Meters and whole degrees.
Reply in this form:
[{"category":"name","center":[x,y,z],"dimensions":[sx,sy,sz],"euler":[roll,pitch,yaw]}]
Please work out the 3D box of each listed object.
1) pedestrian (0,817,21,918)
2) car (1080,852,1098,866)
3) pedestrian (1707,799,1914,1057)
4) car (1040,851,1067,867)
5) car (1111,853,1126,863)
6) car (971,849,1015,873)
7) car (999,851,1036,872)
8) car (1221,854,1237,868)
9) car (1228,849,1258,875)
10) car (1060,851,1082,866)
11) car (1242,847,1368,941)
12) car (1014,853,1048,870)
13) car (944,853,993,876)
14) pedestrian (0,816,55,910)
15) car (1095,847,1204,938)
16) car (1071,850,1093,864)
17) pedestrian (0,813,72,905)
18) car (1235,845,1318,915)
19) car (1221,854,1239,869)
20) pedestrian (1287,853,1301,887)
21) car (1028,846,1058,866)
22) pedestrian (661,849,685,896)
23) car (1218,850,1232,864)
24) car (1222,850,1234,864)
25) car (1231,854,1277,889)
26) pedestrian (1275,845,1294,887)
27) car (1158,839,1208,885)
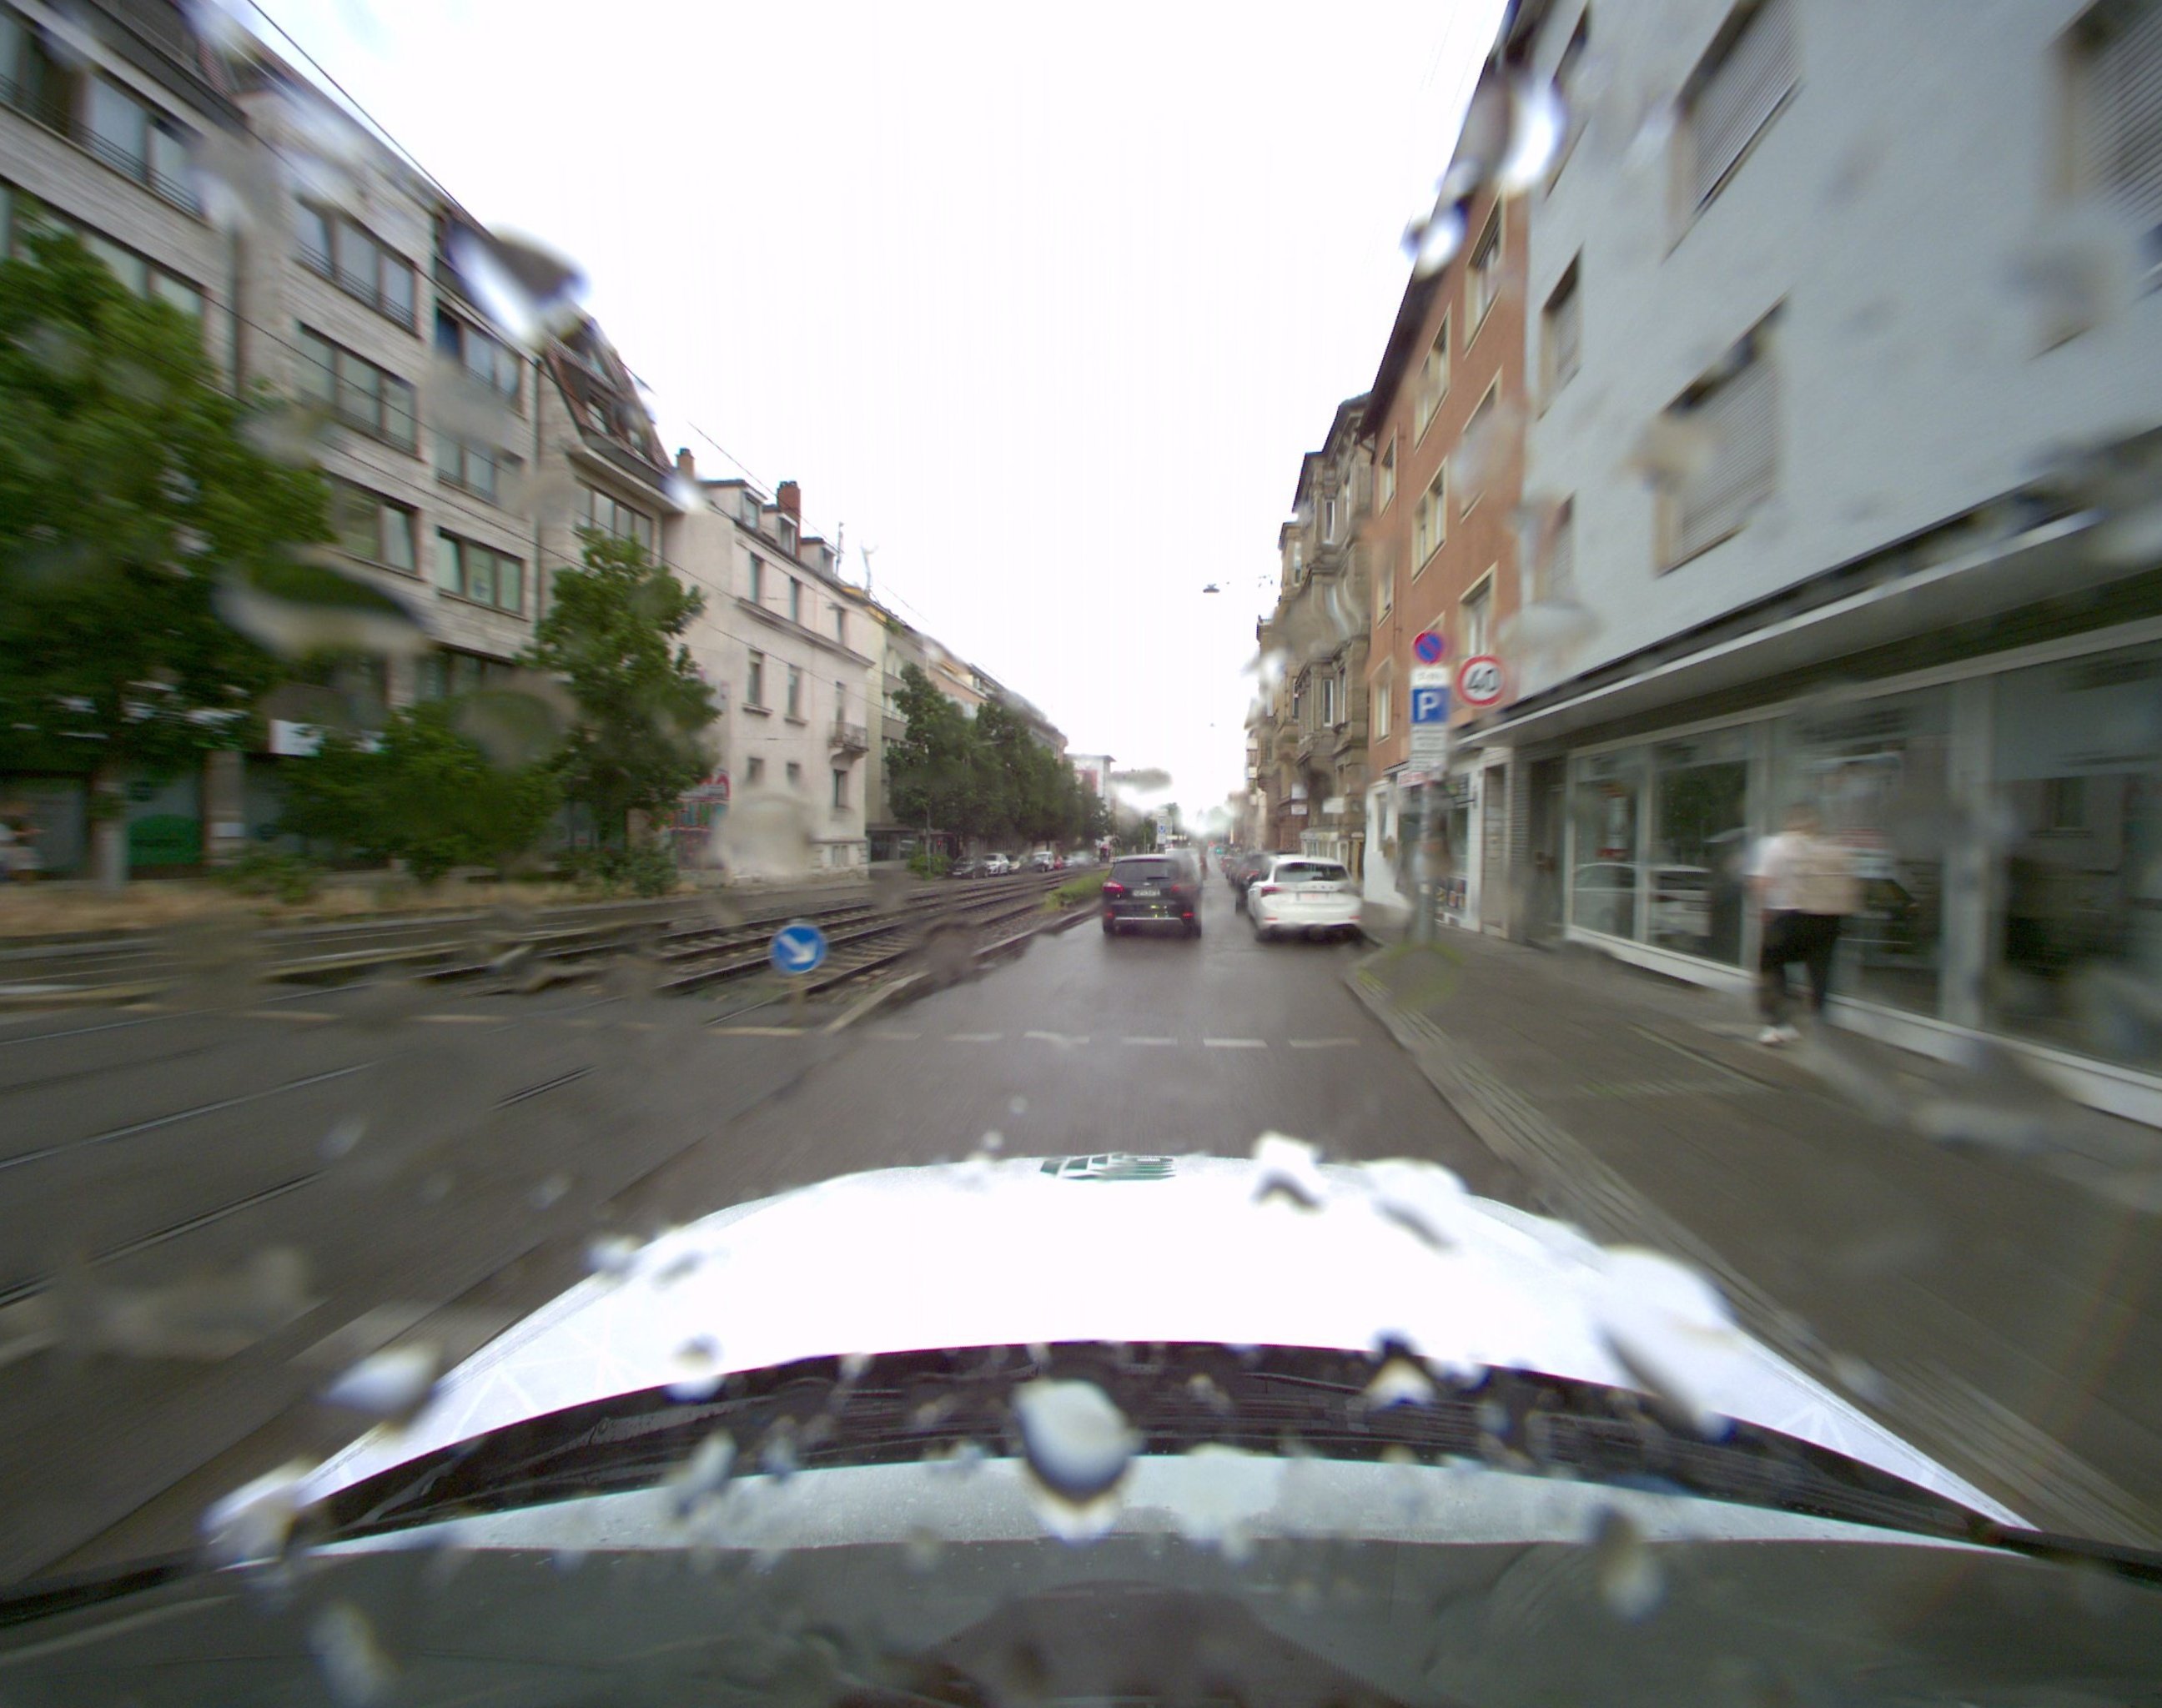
[{"category":"pedestrian","center":[-18.776,0.205,13.785],"dimensions":[0.644,1.724,0.685],"euler":[3,-2,7]},{"category":"car","center":[1.019,0.664,104.500],"dimensions":[1.685,1.574,4.056],"euler":[1,-1,10]},{"category":"pedestrian","center":[4.775,0.443,5.382],"dimensions":[0.686,1.571,0.762],"euler":[-1,2,-2]},{"category":"car","center":[-2.701,0.513,81.684],"dimensions":[1.844,1.527,4.056],"euler":[1,-1,10]},{"category":"car","center":[6.195,0.698,134.402],"dimensions":[1.844,1.637,4.056],"euler":[1,-1,10]},{"category":"car","center":[-6.252,0.535,58.551],"dimensions":[1.844,1.549,4.733],"euler":[1,-1,10]},{"category":"car","center":[-5.033,0.601,64.857],"dimensions":[1.844,1.549,4.442],"euler":[1,-1,10]},{"category":"car","center":[15.771,0.729,86.938],"dimensions":[1.660,1.421,3.485],"euler":[0,0,9]},{"category":"car","center":[9.469,0.487,47.798],"dimensions":[1.639,1.460,3.485],"euler":[0,0,10]},{"category":"car","center":[-1.093,0.500,88.585],"dimensions":[1.658,1.558,4.056],"euler":[1,-1,10]},{"category":"car","center":[3.963,0.673,15.067],"dimensions":[1.791,1.456,4.598],"euler":[0,-1,10]},{"category":"car","center":[-4.246,0.668,69.739],"dimensions":[1.844,1.418,4.442],"euler":[-1,-2,9]},{"category":"car","center":[-7.149,0.701,52.230],"dimensions":[1.683,1.378,4.732],"euler":[1,-2,10]},{"category":"pedestrian","center":[-18.080,0.137,13.710],"dimensions":[0.644,1.549,0.685],"euler":[3,-2,7]},{"category":"car","center":[1.405,0.667,15.679],"dimensions":[1.832,1.507,4.008],"euler":[0,-1,7]},{"category":"car","center":[0.177,0.378,98.145],"dimensions":[1.844,1.637,4.948],"euler":[1,-1,10]},{"category":"pedestrian","center":[-18.761,0.094,14.584],"dimensions":[0.501,1.598,0.587],"euler":[3,-2,7]},{"category":"car","center":[5.062,0.655,21.606],"dimensions":[1.834,1.632,4.598],"euler":[1,-1,10]},{"category":"car","center":[14.734,0.767,80.733],"dimensions":[1.660,1.421,3.485],"euler":[0,0,9]},{"category":"pedestrian","center":[10.175,0.759,38.957],"dimensions":[0.516,1.579,0.679],"euler":[-2,-2,9]},{"category":"car","center":[-3.487,0.191,75.717],"dimensions":[1.844,1.701,4.442],"euler":[1,-1,10]},{"category":"pedestrian","center":[-14.421,0.651,28.772],"dimensions":[0.466,1.652,0.581],"euler":[3,-2,-3]},{"category":"car","center":[20.041,0.384,113.078],"dimensions":[1.828,1.781,3.788],"euler":[3,-1,10]},{"category":"car","center":[21.398,0.464,118.886],"dimensions":[1.582,1.781,3.788],"euler":[3,-1,10]},{"category":"car","center":[7.504,0.768,35.688],"dimensions":[1.781,1.407,4.268],"euler":[1,-1,10]},{"category":"pedestrian","center":[9.182,0.524,36.701],"dimensions":[0.699,1.819,0.964],"euler":[-2,1,9]},{"category":"car","center":[5.014,0.360,39.489],"dimensions":[1.975,2.060,4.660],"euler":[1,0,12]}]
